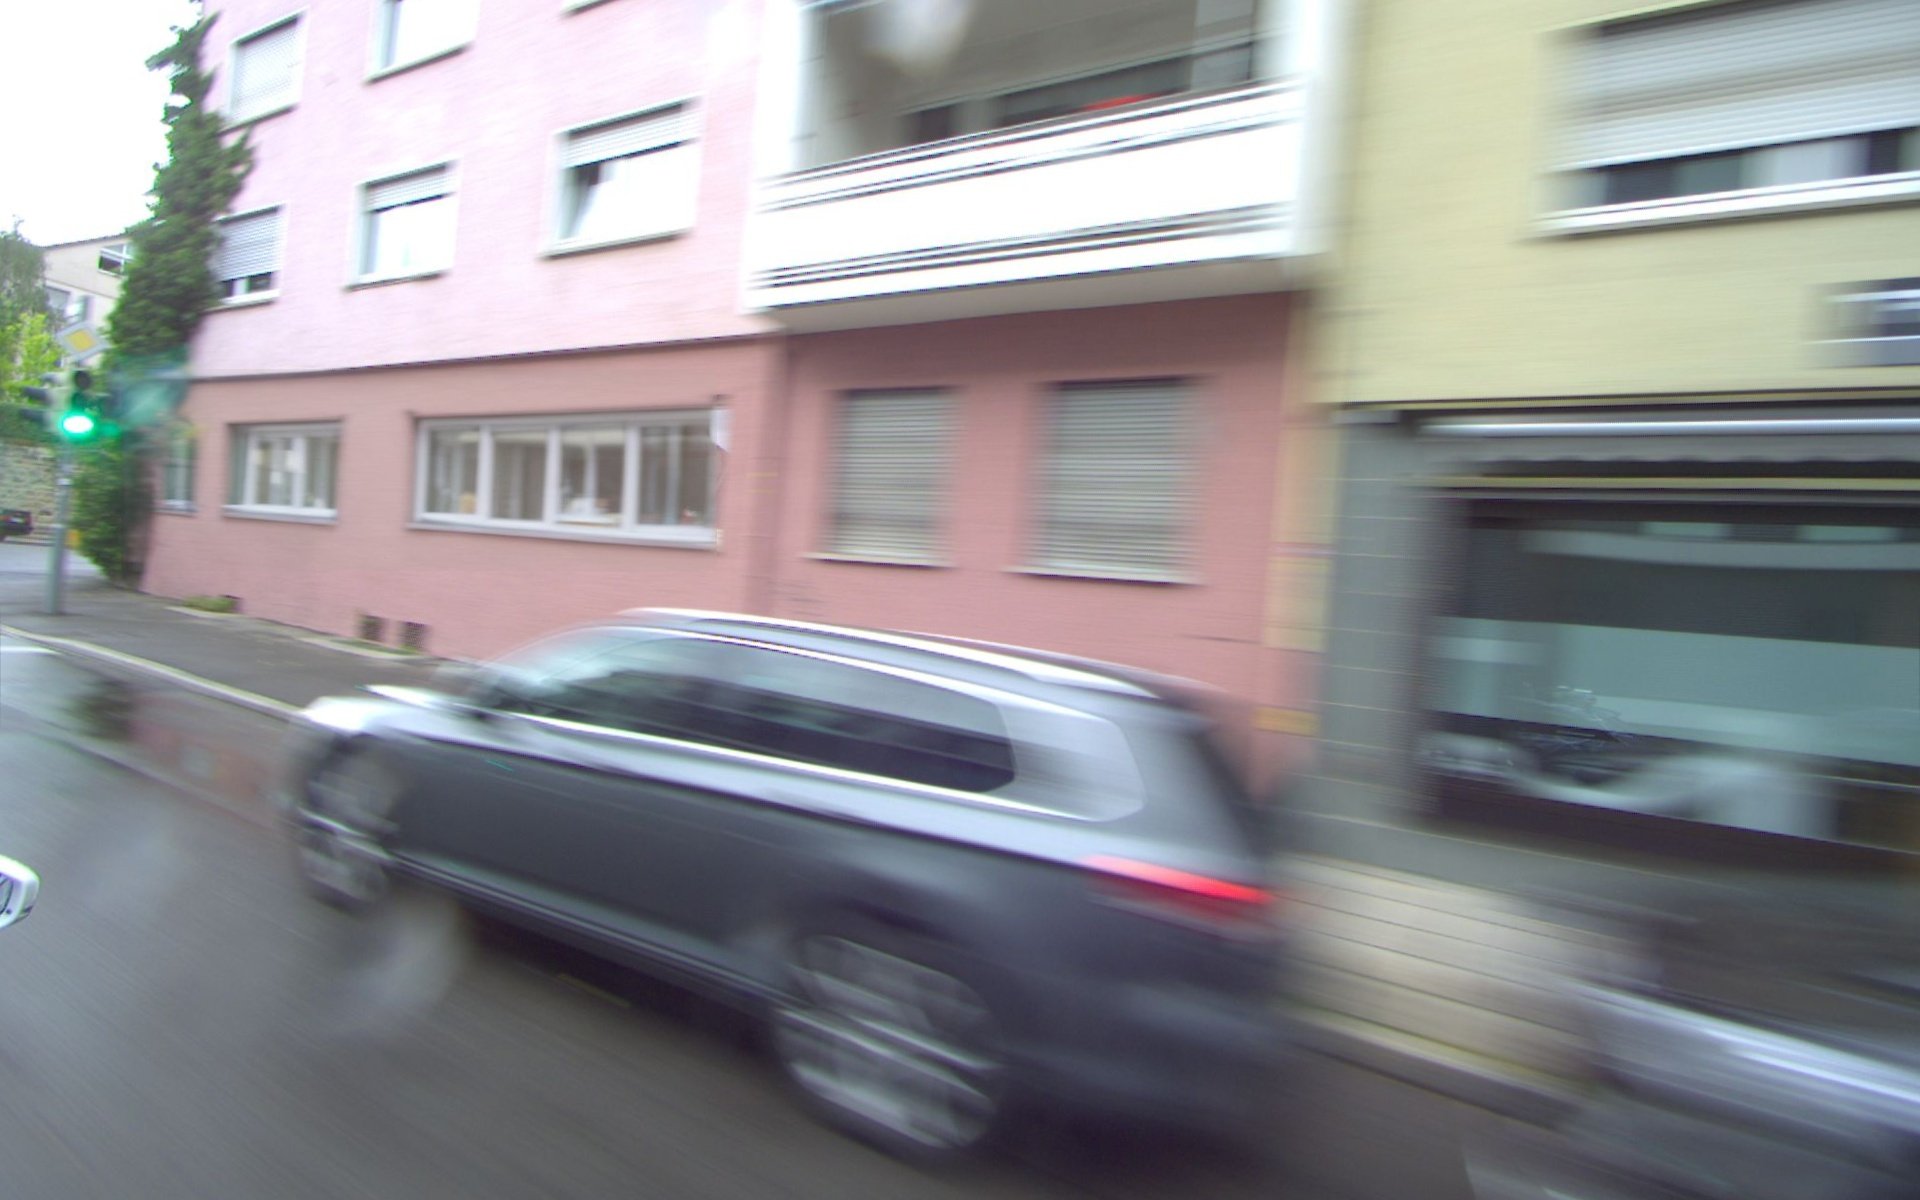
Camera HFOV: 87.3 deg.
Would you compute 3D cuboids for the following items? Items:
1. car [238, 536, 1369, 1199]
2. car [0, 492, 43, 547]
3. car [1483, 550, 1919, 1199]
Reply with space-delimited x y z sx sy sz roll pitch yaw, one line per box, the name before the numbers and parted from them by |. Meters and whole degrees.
car | -0.826 0.768 4.253 4.435 1.538 1.796 7 -1 29
car | -28.156 -2.378 27.443 4.211 1.410 1.746 4 0 -17
car | 3.365 1.104 1.532 4.437 1.795 1.966 7 -1 31
